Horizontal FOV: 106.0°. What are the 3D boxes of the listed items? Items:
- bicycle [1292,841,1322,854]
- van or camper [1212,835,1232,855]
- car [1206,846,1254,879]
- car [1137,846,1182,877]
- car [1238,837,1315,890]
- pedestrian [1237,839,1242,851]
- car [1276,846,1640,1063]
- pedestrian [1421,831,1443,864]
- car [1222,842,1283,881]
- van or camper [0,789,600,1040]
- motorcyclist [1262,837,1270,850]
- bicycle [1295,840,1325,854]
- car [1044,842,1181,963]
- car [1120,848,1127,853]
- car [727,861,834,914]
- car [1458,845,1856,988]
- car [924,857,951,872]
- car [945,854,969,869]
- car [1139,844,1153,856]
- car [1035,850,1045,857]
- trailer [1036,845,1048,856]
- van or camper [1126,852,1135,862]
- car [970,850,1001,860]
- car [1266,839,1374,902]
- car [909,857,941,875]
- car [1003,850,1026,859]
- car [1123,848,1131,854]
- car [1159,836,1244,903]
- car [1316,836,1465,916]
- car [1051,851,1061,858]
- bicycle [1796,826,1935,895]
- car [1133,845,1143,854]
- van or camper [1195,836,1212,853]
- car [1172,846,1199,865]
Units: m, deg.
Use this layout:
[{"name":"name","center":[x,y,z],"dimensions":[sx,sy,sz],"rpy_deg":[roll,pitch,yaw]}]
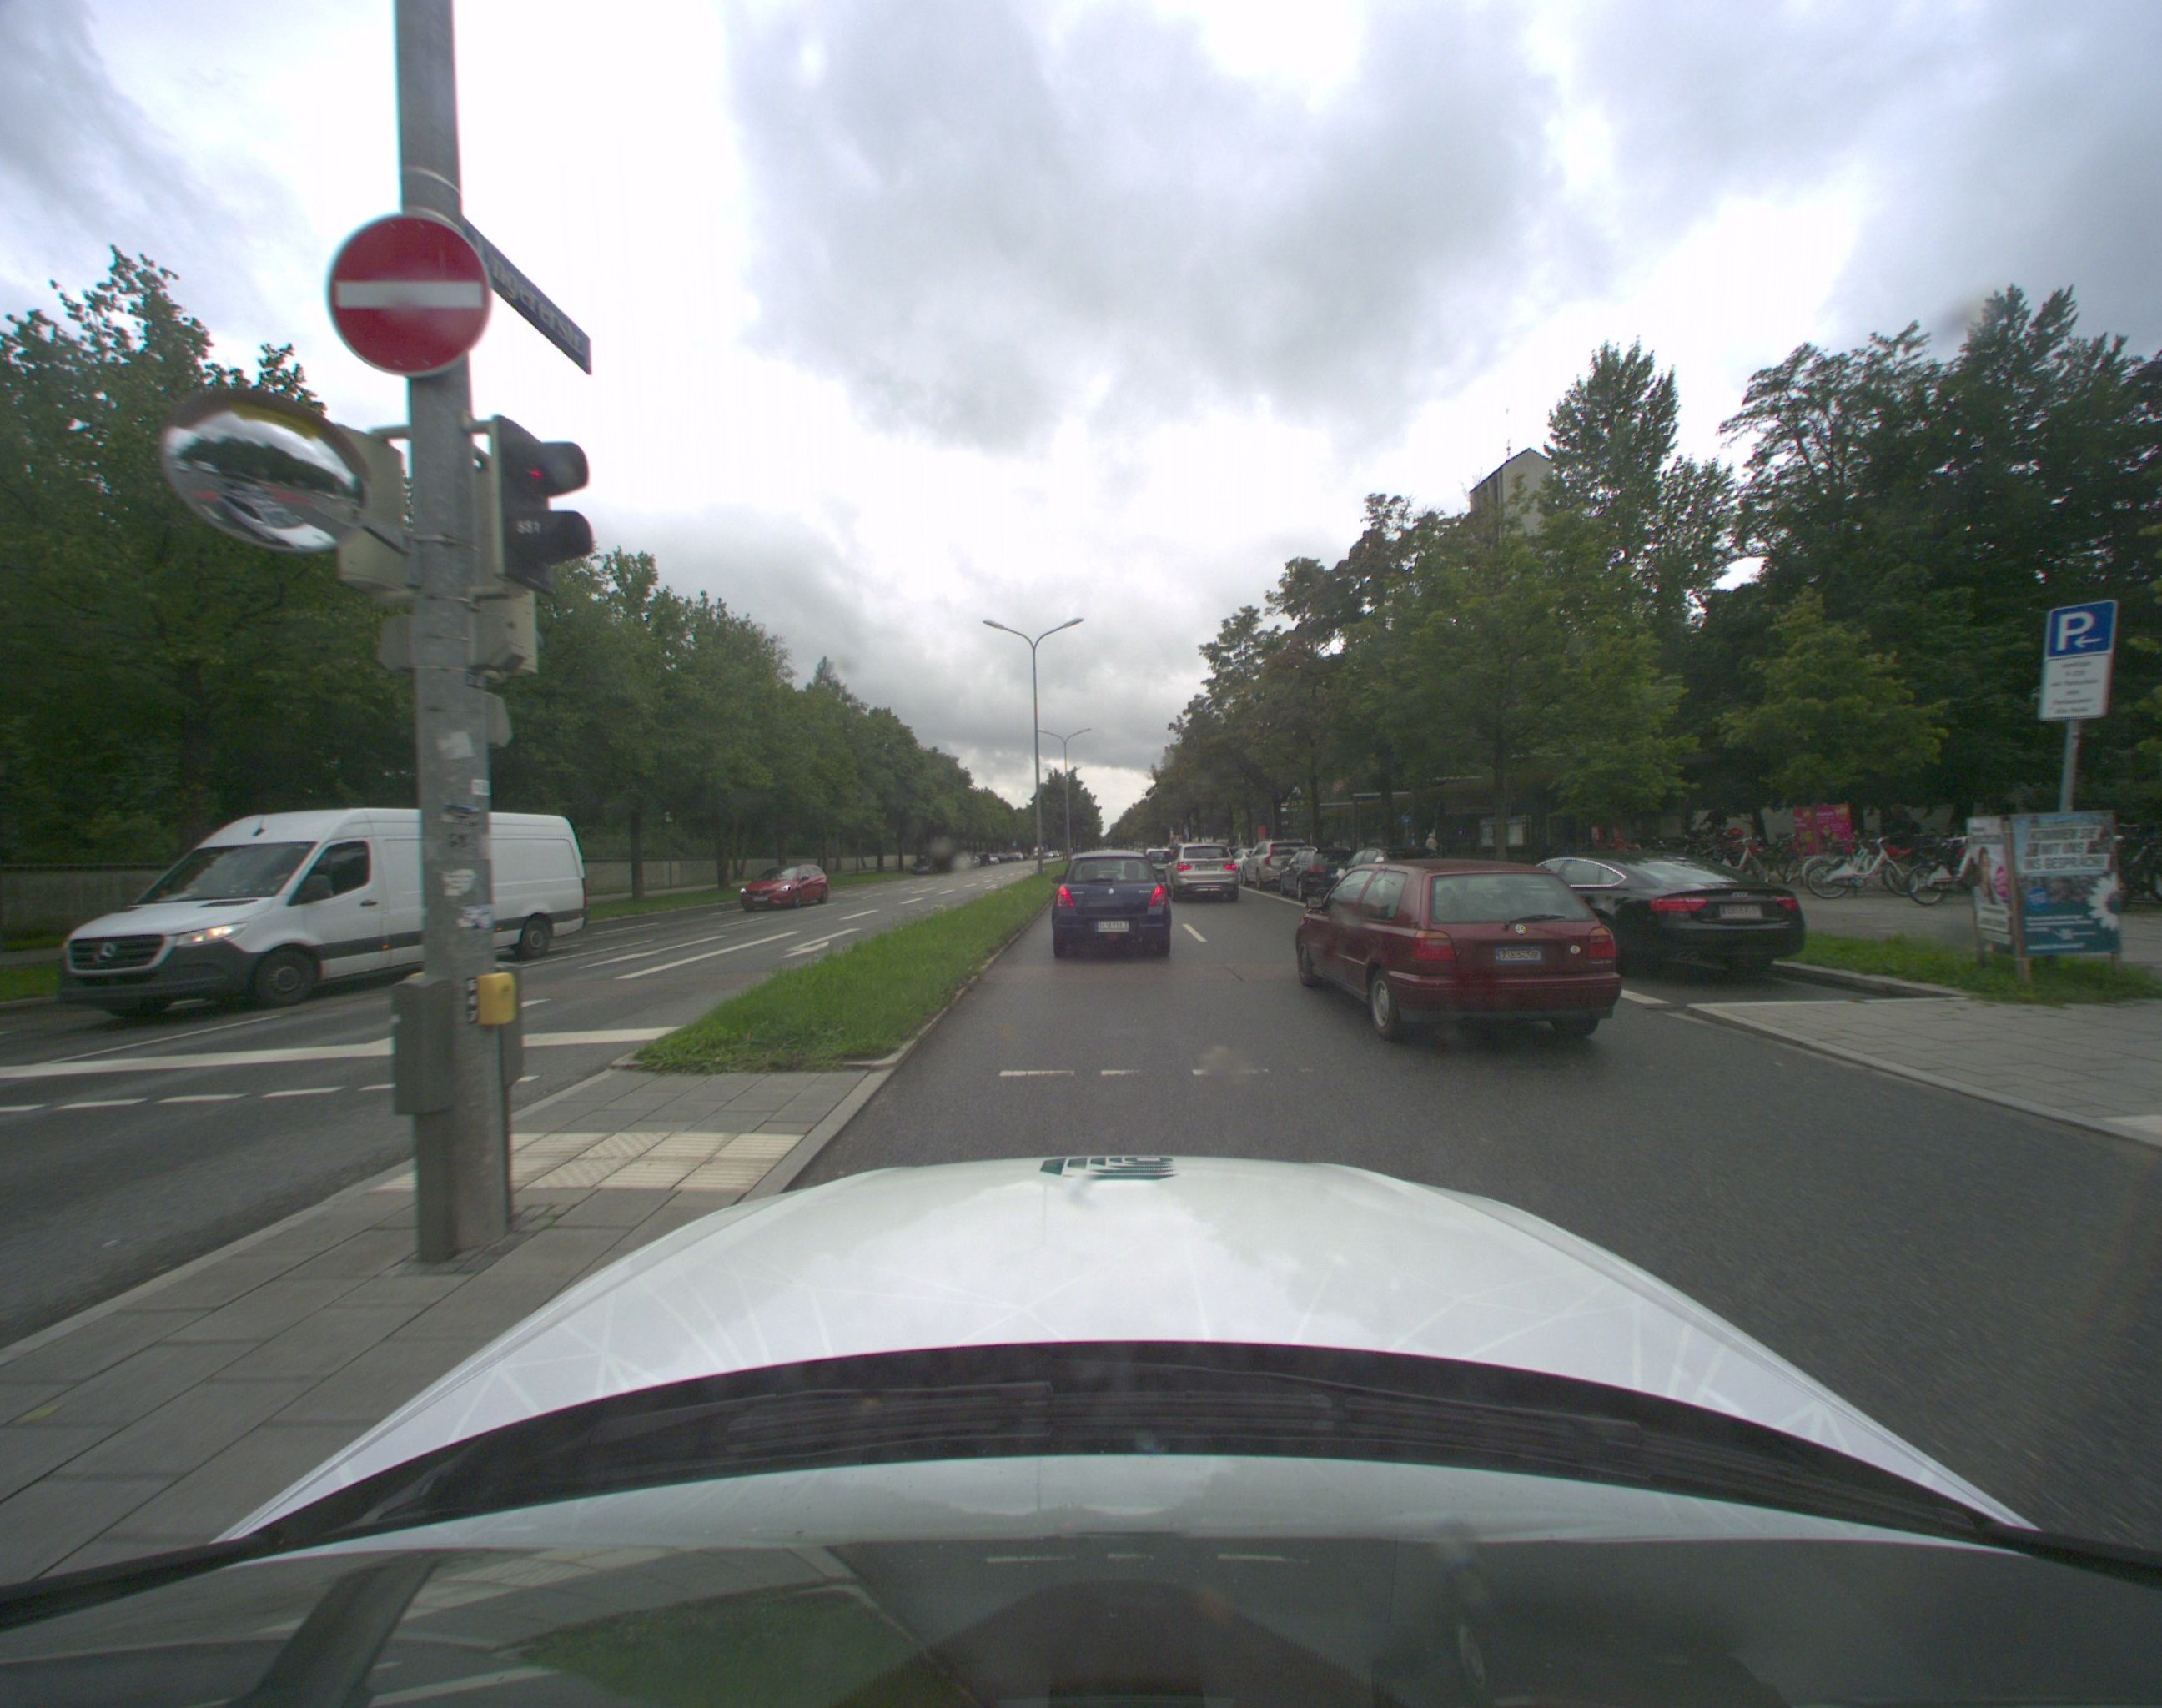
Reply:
[{"name":"bicycle","center":[20.617,-0.636,74.418],"dimensions":[2.533,1.089,0.647],"rpy_deg":[-2,0,1]},{"name":"van or camper","center":[19.941,-1.274,115.337],"dimensions":[1.986,2.557,5.959],"rpy_deg":[-2,0,2]},{"name":"car","center":[7.295,0.376,40.226],"dimensions":[1.714,1.534,4.400],"rpy_deg":[0,0,1]},{"name":"car","center":[3.904,0.346,40.951],"dimensions":[1.844,1.447,4.097],"rpy_deg":[-2,0,0]},{"name":"car","center":[6.996,0.280,29.596],"dimensions":[1.741,1.724,4.908],"rpy_deg":[-1,1,2]},{"name":"pedestrian","center":[23.387,-1.387,119.942],"dimensions":[0.572,1.751,0.733],"rpy_deg":[-2,0,6]},{"name":"car","center":[3.109,0.687,7.668],"dimensions":[1.616,1.454,3.950],"rpy_deg":[-2,0,1]},{"name":"pedestrian","center":[16.519,-0.316,38.319],"dimensions":[0.580,1.513,0.690],"rpy_deg":[-2,0,-17]},{"name":"car","center":[7.406,0.286,35.562],"dimensions":[1.696,1.508,4.504],"rpy_deg":[-2,0,0]},{"name":"van or camper","center":[-10.745,0.634,12.523],"dimensions":[2.169,2.646,6.955],"rpy_deg":[-4,0,2]},{"name":"motorcyclist","center":[25.031,-1.380,110.003],"dimensions":[0.688,1.737,0.954],"rpy_deg":[-7,0,1]},{"name":"bicycle","center":[20.558,-0.621,73.199],"dimensions":[2.533,1.089,0.647],"rpy_deg":[-2,0,1]},{"name":"car","center":[0.430,0.638,12.983],"dimensions":[1.783,1.555,4.000],"rpy_deg":[-2,0,0]},{"name":"car","center":[11.905,-1.044,227.771],"dimensions":[1.844,1.447,4.097],"rpy_deg":[-2,0,0]},{"name":"car","center":[-10.226,1.093,28.138],"dimensions":[1.737,1.452,4.659],"rpy_deg":[-4,1,1]},{"name":"car","center":[6.671,0.587,10.220],"dimensions":[1.705,1.360,4.620],"rpy_deg":[-1,0,0]},{"name":"car","center":[-14.146,1.021,80.591],"dimensions":[1.653,1.396,4.708],"rpy_deg":[-1,1,2]},{"name":"car","center":[-13.480,0.837,88.981],"dimensions":[1.563,1.503,4.310],"rpy_deg":[-1,1,5]},{"name":"car","center":[9.546,-0.623,119.237],"dimensions":[1.758,1.651,4.425],"rpy_deg":[-2,0,1]},{"name":"car","center":[-9.161,-0.083,180.287],"dimensions":[1.907,1.542,4.187],"rpy_deg":[-2,0,0]},{"name":"trailer","center":[-9.073,-0.812,189.695],"dimensions":[2.098,2.540,5.579],"rpy_deg":[-2,0,2]},{"name":"van or camper","center":[10.654,0.693,175.524],"dimensions":[1.937,1.974,4.309],"rpy_deg":[-2,0,2]},{"name":"car","center":[-13.932,0.179,119.165],"dimensions":[4.016,1.354,1.831],"rpy_deg":[-3,0,-33]},{"name":"car","center":[6.746,0.384,23.496],"dimensions":[1.741,1.547,4.643],"rpy_deg":[-3,1,1]},{"name":"car","center":[-14.245,1.055,74.695],"dimensions":[1.792,1.490,4.917],"rpy_deg":[-1,1,1]},{"name":"car","center":[-13.378,0.065,162.710],"dimensions":[4.122,1.585,1.900],"rpy_deg":[-3,0,-32]},{"name":"car","center":[12.089,-0.831,213.915],"dimensions":[1.844,1.447,4.097],"rpy_deg":[-2,0,0]},{"name":"car","center":[3.438,0.391,24.007],"dimensions":[1.844,1.742,4.097],"rpy_deg":[-2,0,0]},{"name":"car","center":[6.841,0.418,18.521],"dimensions":[1.707,1.547,4.382],"rpy_deg":[-2,0,0]},{"name":"car","center":[-5.625,0.111,183.534],"dimensions":[1.907,1.542,4.187],"rpy_deg":[-2,0,0]},{"name":"bicycle","center":[14.501,0.124,15.086],"dimensions":[1.795,1.142,0.569],"rpy_deg":[-4,0,10]},{"name":"car","center":[10.351,-0.786,147.931],"dimensions":[1.677,1.525,4.458],"rpy_deg":[-1,0,2]},{"name":"van or camper","center":[19.762,-1.490,131.836],"dimensions":[2.016,2.557,5.959],"rpy_deg":[-2,0,2]},{"name":"car","center":[8.472,0.125,66.186],"dimensions":[1.627,1.439,4.305],"rpy_deg":[-2,0,1]}]
